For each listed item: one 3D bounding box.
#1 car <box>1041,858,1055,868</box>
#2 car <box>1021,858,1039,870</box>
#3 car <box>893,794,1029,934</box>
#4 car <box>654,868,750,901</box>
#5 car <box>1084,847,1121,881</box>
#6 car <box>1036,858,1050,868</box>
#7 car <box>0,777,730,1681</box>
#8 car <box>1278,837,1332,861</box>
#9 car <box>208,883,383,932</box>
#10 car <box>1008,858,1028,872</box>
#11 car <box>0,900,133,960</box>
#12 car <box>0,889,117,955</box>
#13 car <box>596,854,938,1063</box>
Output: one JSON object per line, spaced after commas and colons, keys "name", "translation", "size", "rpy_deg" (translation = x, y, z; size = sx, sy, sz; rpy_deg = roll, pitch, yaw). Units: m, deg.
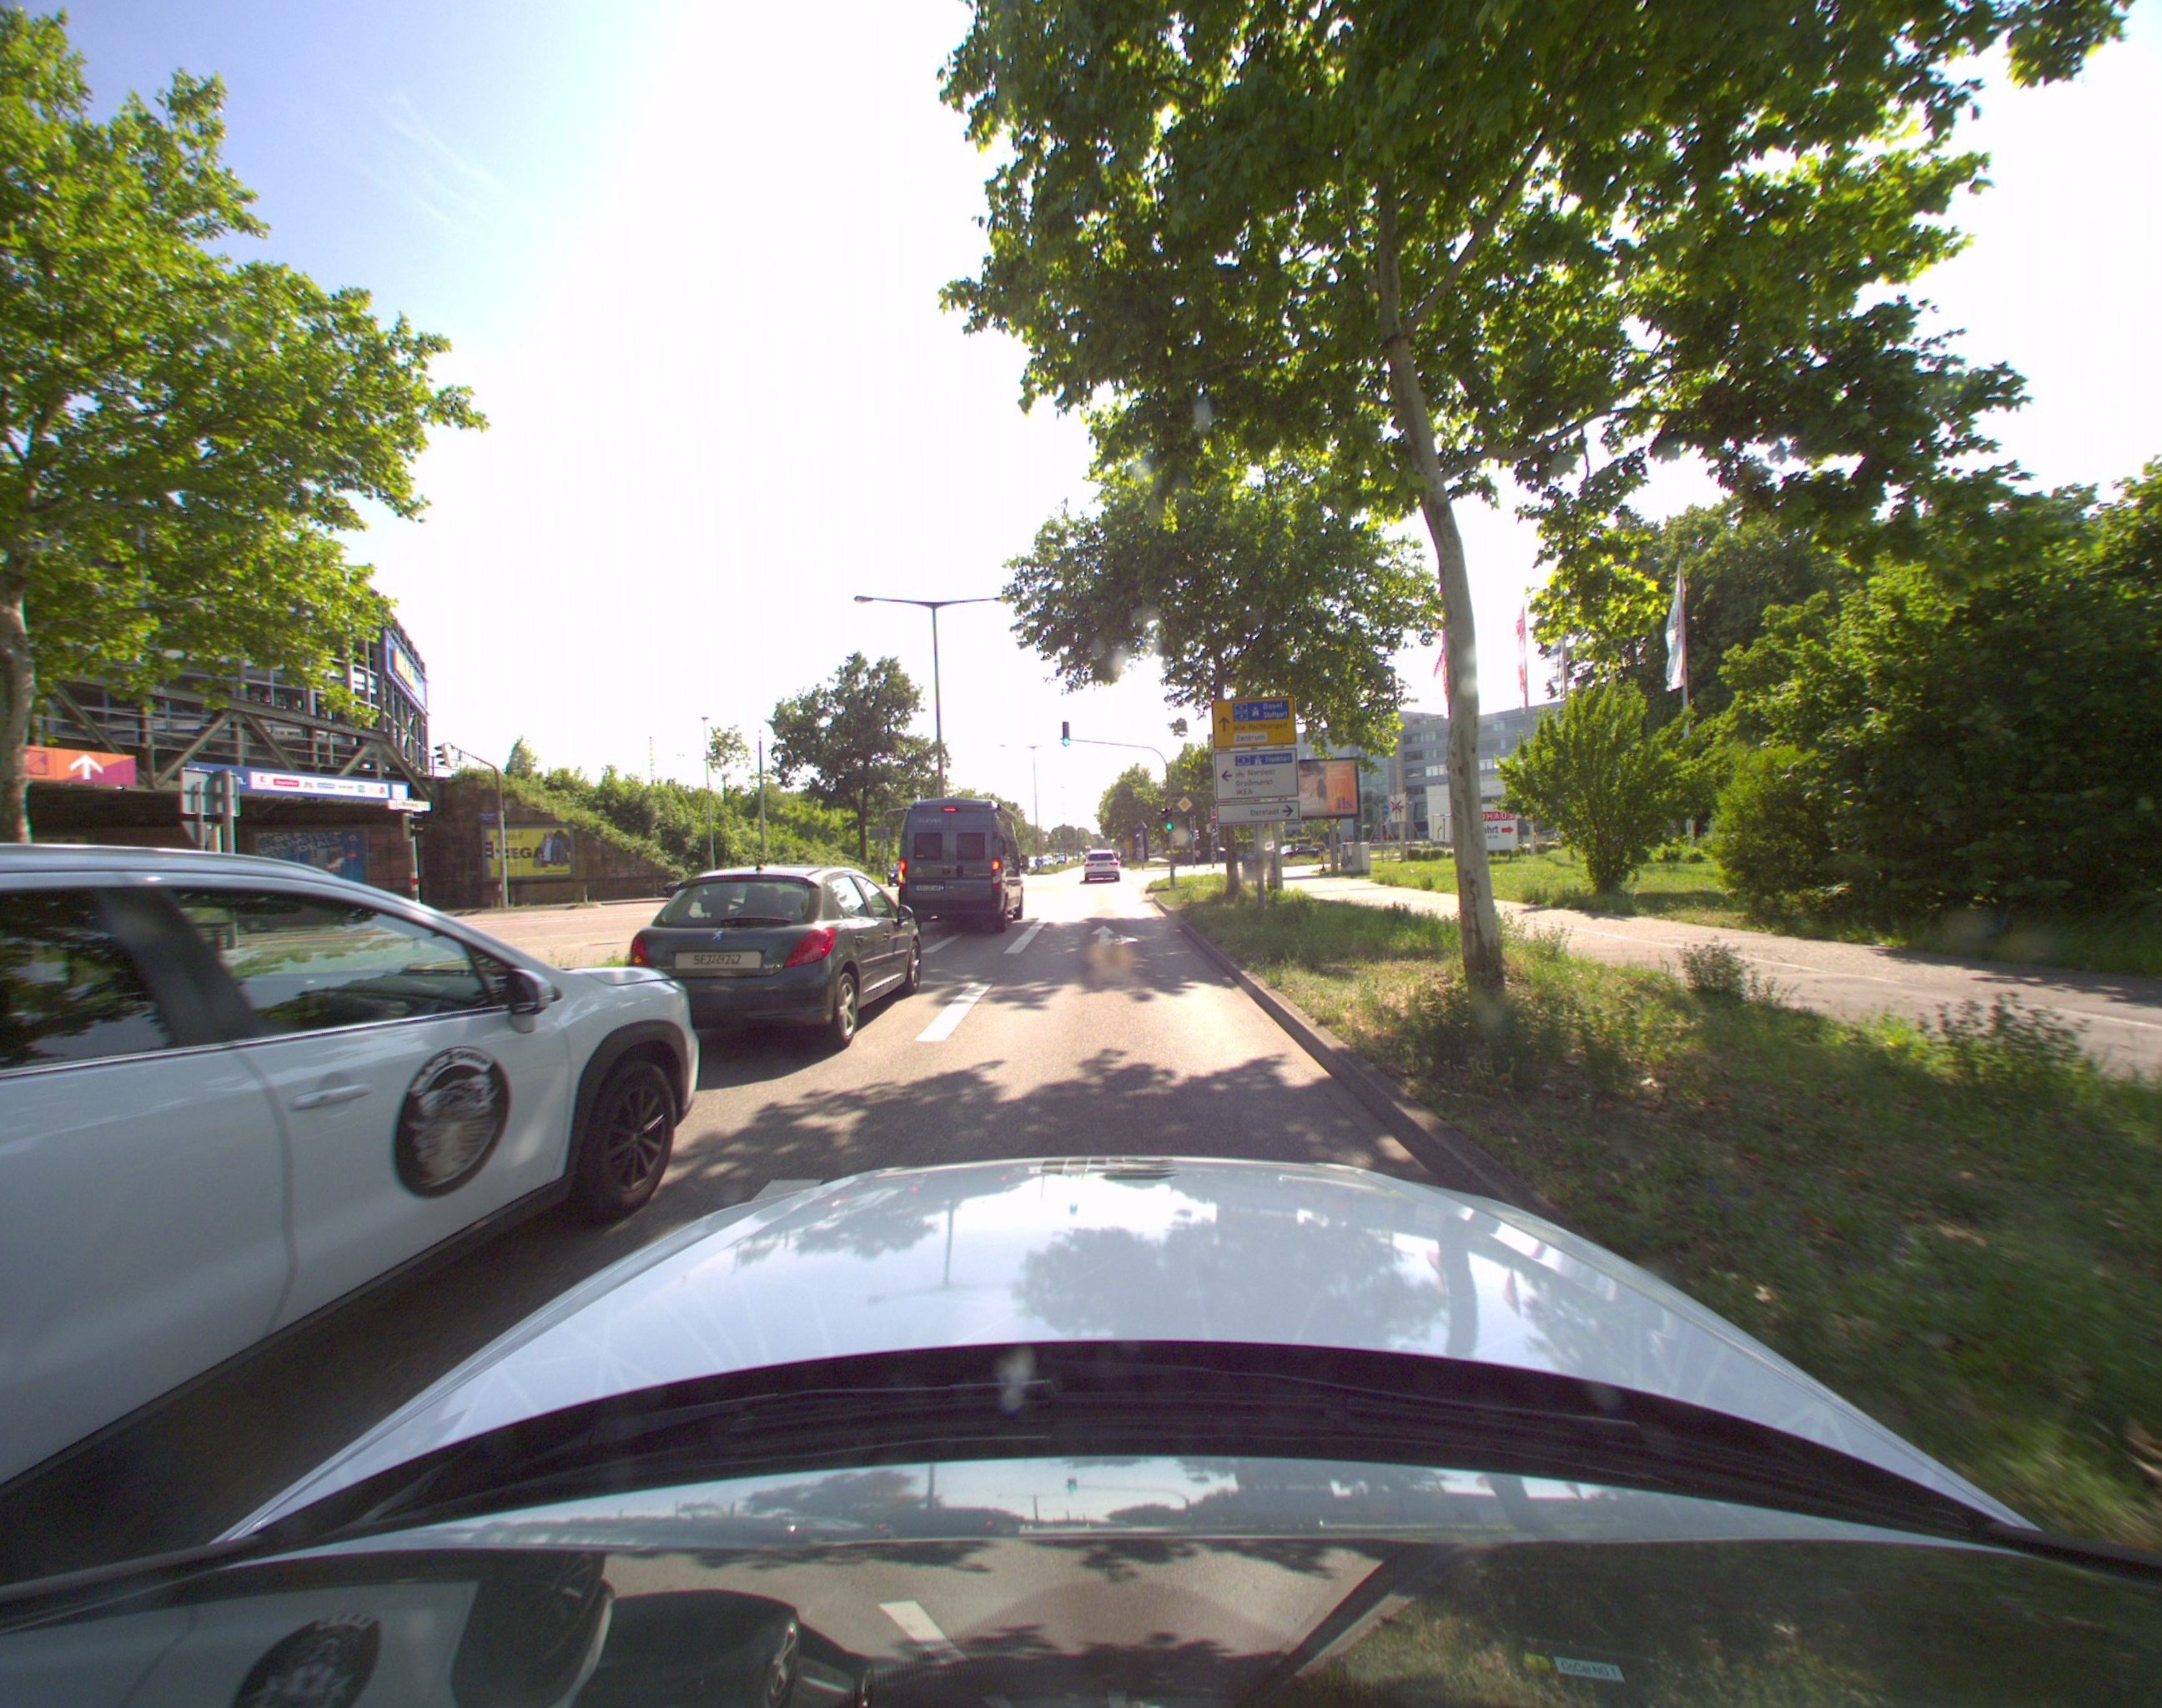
{"name": "car", "translation": [-4.058, 1.097, 100.670], "size": [1.364, 1.112, 3.208], "rpy_deg": [-3, 0, 2]}
{"name": "car", "translation": [-4.950, 0.960, 79.554], "size": [1.364, 1.112, 3.208], "rpy_deg": [-3, 0, 2]}
{"name": "car", "translation": [-2.472, 0.197, 18.119], "size": [2.073, 2.656, 4.877], "rpy_deg": [-1, 0, 2]}
{"name": "car", "translation": [-19.337, 1.517, 41.606], "size": [4.052, 1.418, 1.977], "rpy_deg": [-3, 0, -39]}
{"name": "car", "translation": [1.090, 0.482, 42.870], "size": [1.848, 1.607, 4.000], "rpy_deg": [-1, 1, 0]}
{"name": "car", "translation": [-4.363, 1.041, 93.722], "size": [1.364, 1.112, 3.208], "rpy_deg": [-3, 0, 2]}
{"name": "car", "translation": [-2.835, 0.704, 2.273], "size": [1.764, 1.647, 4.087], "rpy_deg": [-1, 0, 2]}
{"name": "car", "translation": [17.498, -0.392, 63.724], "size": [3.787, 1.757, 1.599], "rpy_deg": [-1, 0, -8]}
{"name": "car", "translation": [-28.575, 1.892, 29.822], "size": [4.348, 1.426, 1.471], "rpy_deg": [-3, 0, -33]}
{"name": "car", "translation": [-5.583, 0.975, 72.332], "size": [1.364, 1.112, 3.208], "rpy_deg": [-3, 0, 2]}
{"name": "car", "translation": [-27.886, 2.011, 21.029], "size": [4.013, 1.345, 1.864], "rpy_deg": [-3, 0, -31]}
{"name": "car", "translation": [-31.434, 2.018, 23.554], "size": [4.144, 1.732, 1.864], "rpy_deg": [-3, 0, -31]}
{"name": "car", "translation": [-2.640, 0.766, 7.897], "size": [1.685, 1.505, 3.887], "rpy_deg": [-1, 0, 2]}
